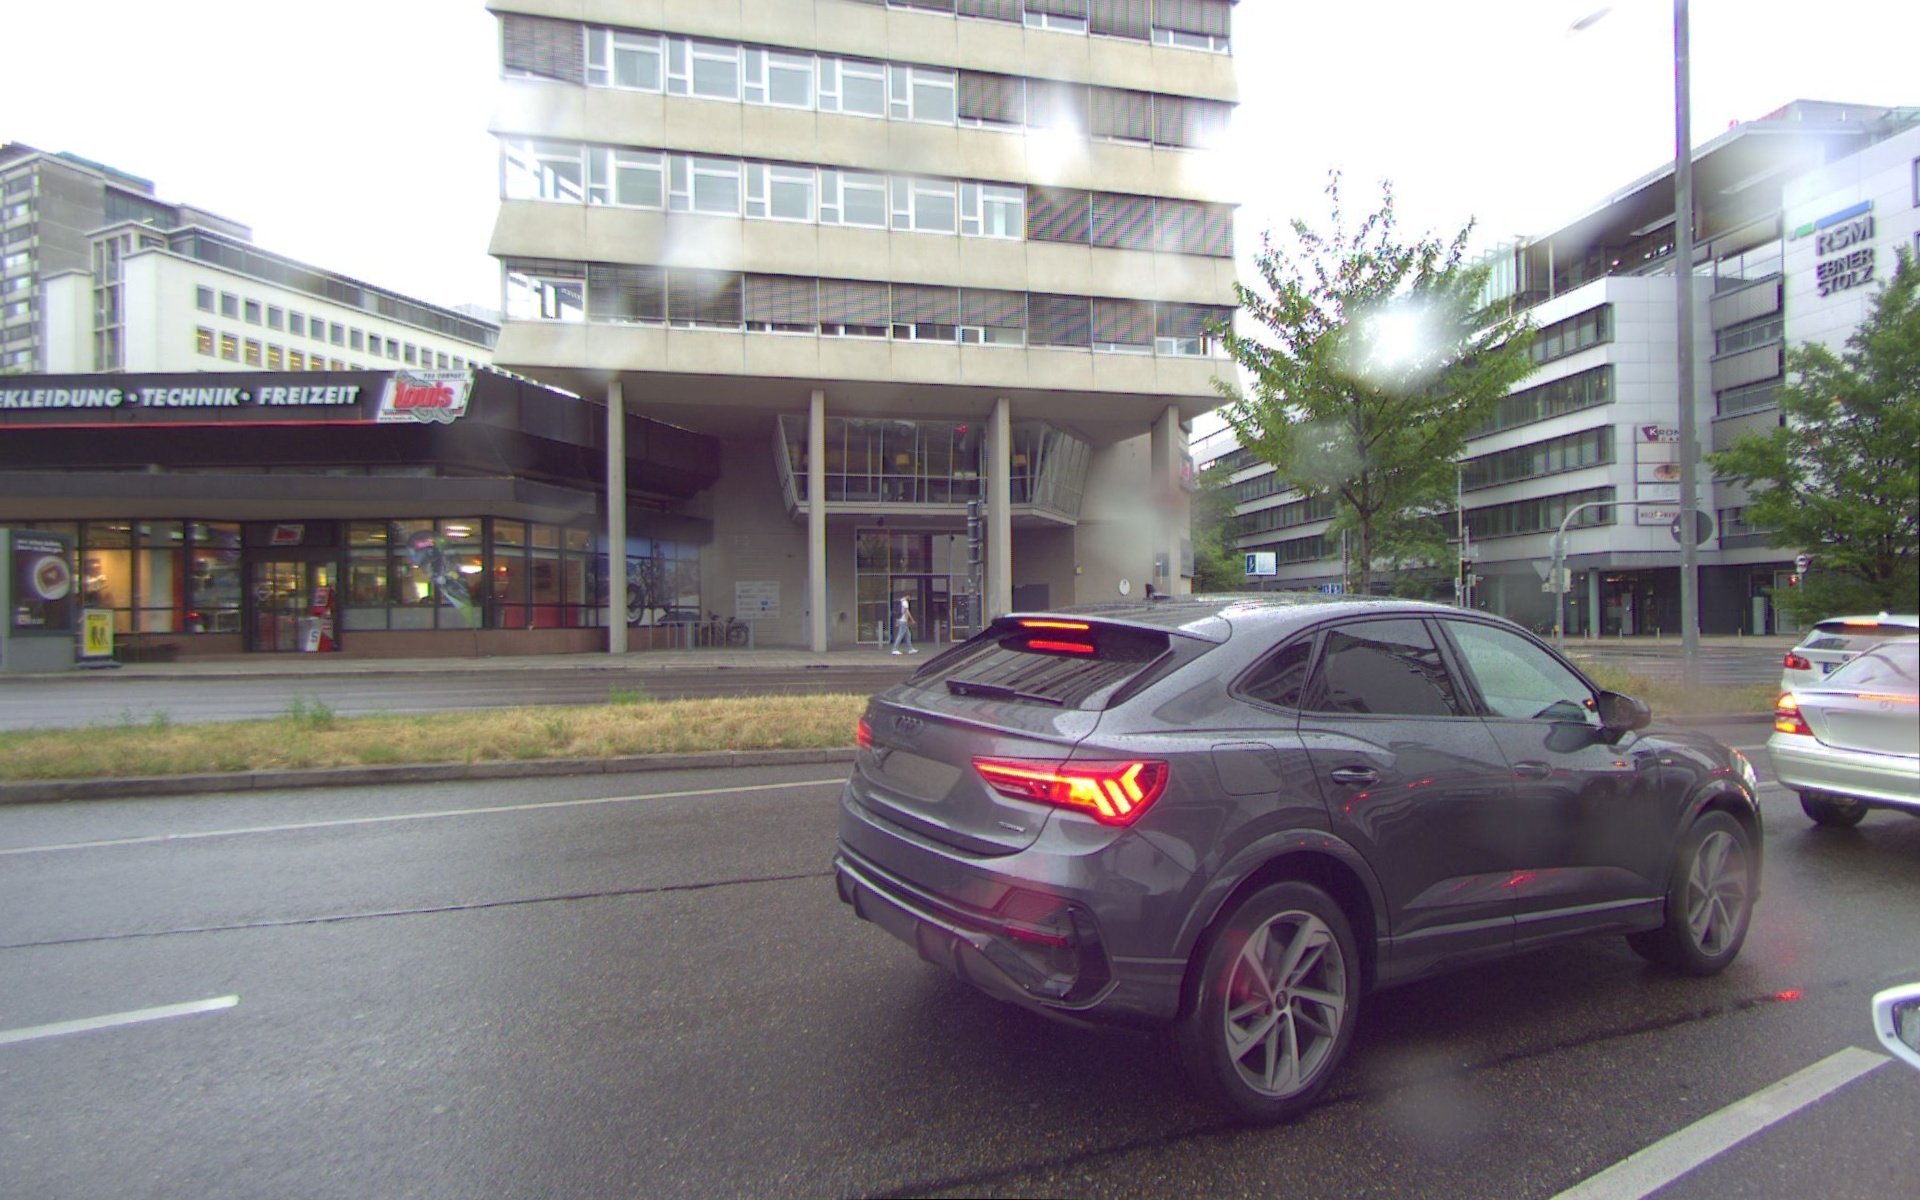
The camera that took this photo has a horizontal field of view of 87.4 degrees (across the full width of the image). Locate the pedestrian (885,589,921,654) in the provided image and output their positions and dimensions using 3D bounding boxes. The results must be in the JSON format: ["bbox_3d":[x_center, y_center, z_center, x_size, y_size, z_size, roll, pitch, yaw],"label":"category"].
[{"bbox_3d":[-1.664,0.631,29.430,0.909,1.857,0.817,1,0,-14],"label":"pedestrian"}]

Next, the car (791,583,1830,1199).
[{"bbox_3d":[1.649,0.726,4.170,4.242,1.454,1.925,1,-1,-34],"label":"car"}]

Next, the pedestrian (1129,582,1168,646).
[{"bbox_3d":[5.614,0.420,29.912,0.909,1.857,0.727,1,-1,-14],"label":"pedestrian"}]

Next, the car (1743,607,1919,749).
[{"bbox_3d":[12.483,0.920,12.965,3.937,1.617,1.883,1,0,-18],"label":"car"}]

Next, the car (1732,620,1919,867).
[{"bbox_3d":[7.701,0.910,7.190,4.137,1.505,1.678,1,-1,-24],"label":"car"}]

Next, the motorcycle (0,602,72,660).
[{"bbox_3d":[-23.577,0.742,24.696,0.788,1.392,2.893,1,0,3],"label":"motorcycle"}]

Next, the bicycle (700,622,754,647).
[{"bbox_3d":[-7.848,1.163,33.866,1.743,0.823,0.454,1,0,-12],"label":"bicycle"}]

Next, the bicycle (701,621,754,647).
[{"bbox_3d":[-7.962,1.164,34.446,1.743,0.823,0.454,1,0,-12],"label":"bicycle"}]
